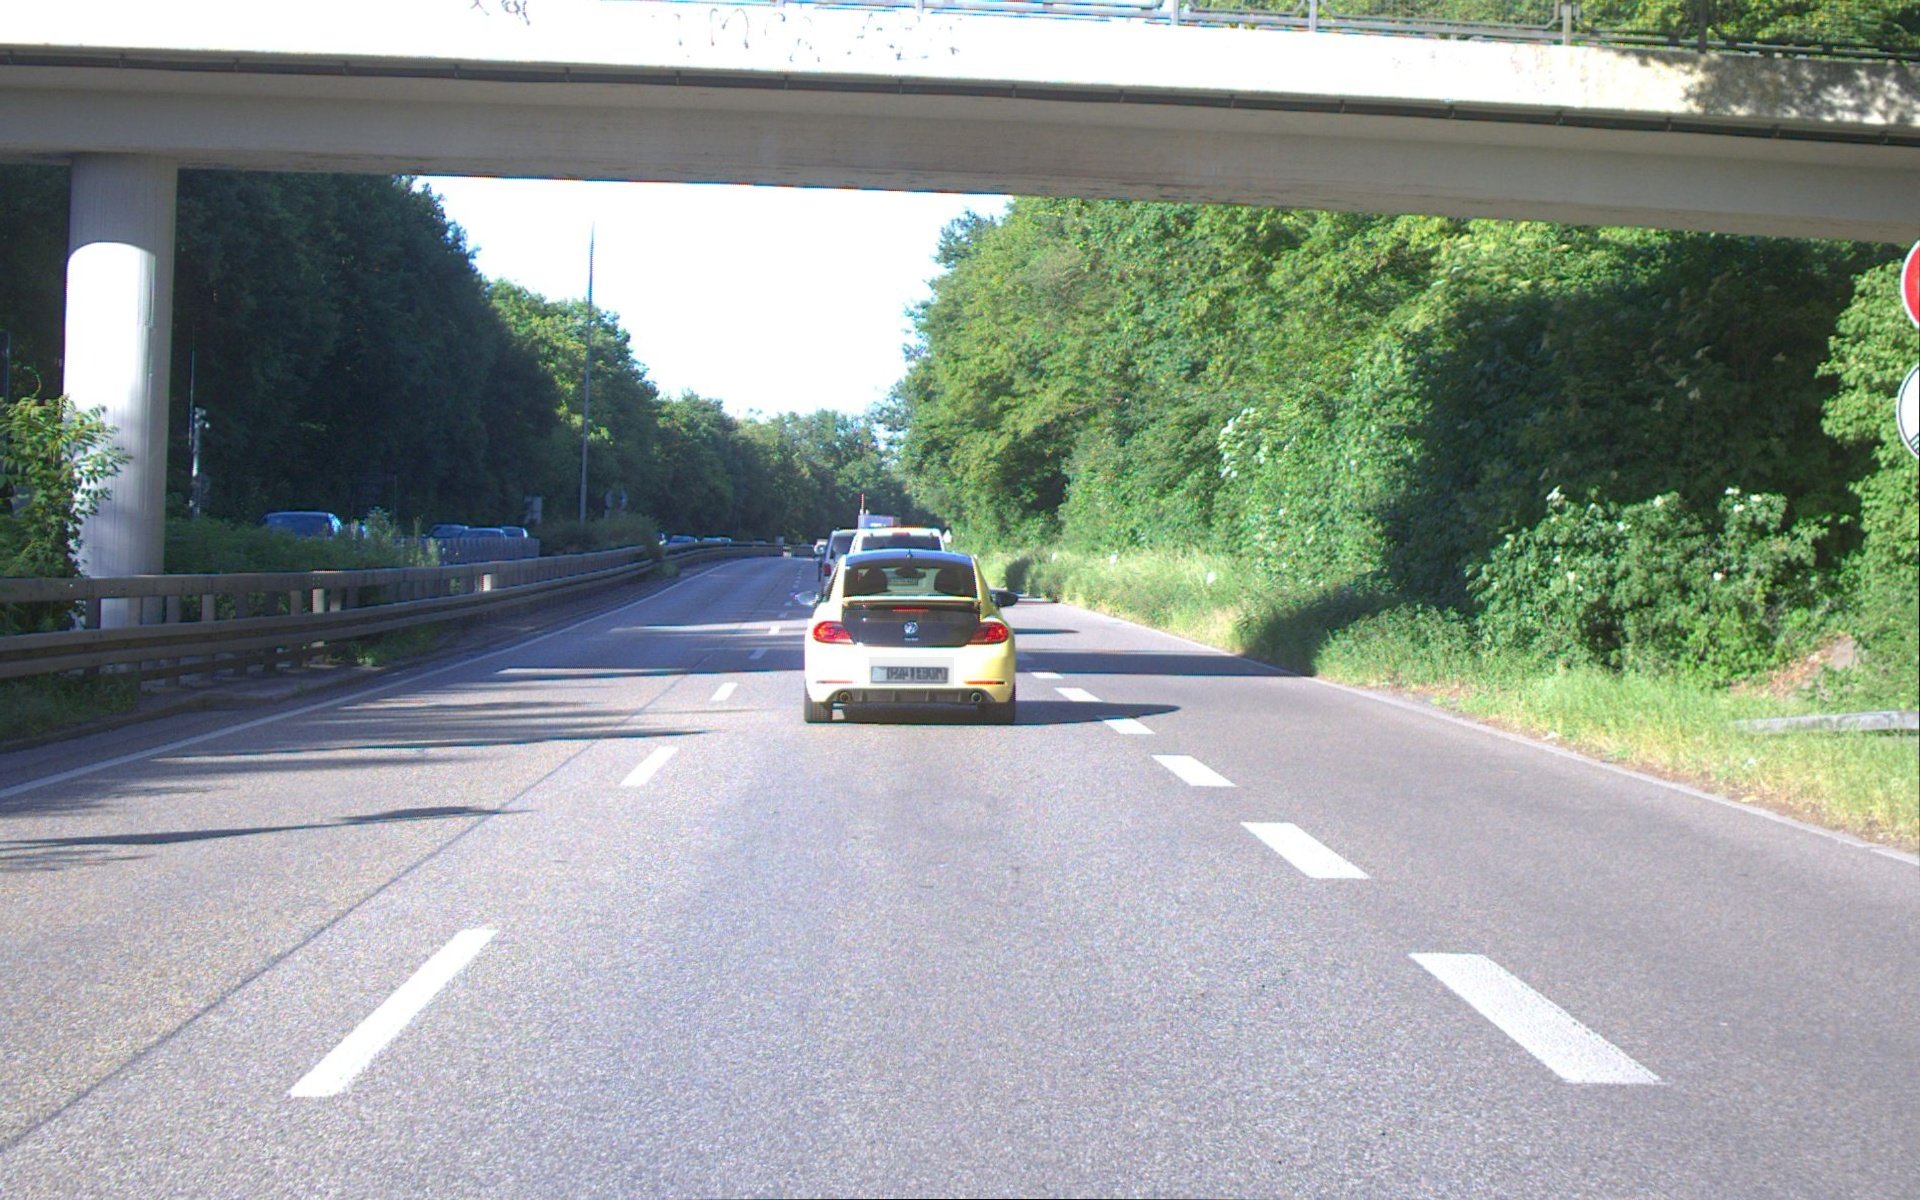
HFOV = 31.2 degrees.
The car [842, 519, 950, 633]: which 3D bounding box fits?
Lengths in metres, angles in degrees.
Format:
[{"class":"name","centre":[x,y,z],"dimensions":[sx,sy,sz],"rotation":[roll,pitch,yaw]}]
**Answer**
[{"class":"car","centre":[-1.058,-0.407,57.443],"dimensions":[1.741,1.823,3.423],"rotation":[0,1,-1]}]

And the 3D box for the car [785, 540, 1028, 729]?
[{"class":"car","centre":[-0.404,0.267,29.732],"dimensions":[1.939,1.503,3.422],"rotation":[1,1,1]}]

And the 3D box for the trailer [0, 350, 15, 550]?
[{"class":"trailer","centre":[-16.572,-2.342,49.282],"dimensions":[2.929,3.157,11.917],"rotation":[1,1,-1]}]

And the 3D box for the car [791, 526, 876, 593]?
[{"class":"car","centre":[-2.972,-0.958,81.343],"dimensions":[1.939,1.539,3.423],"rotation":[1,1,-1]}]
